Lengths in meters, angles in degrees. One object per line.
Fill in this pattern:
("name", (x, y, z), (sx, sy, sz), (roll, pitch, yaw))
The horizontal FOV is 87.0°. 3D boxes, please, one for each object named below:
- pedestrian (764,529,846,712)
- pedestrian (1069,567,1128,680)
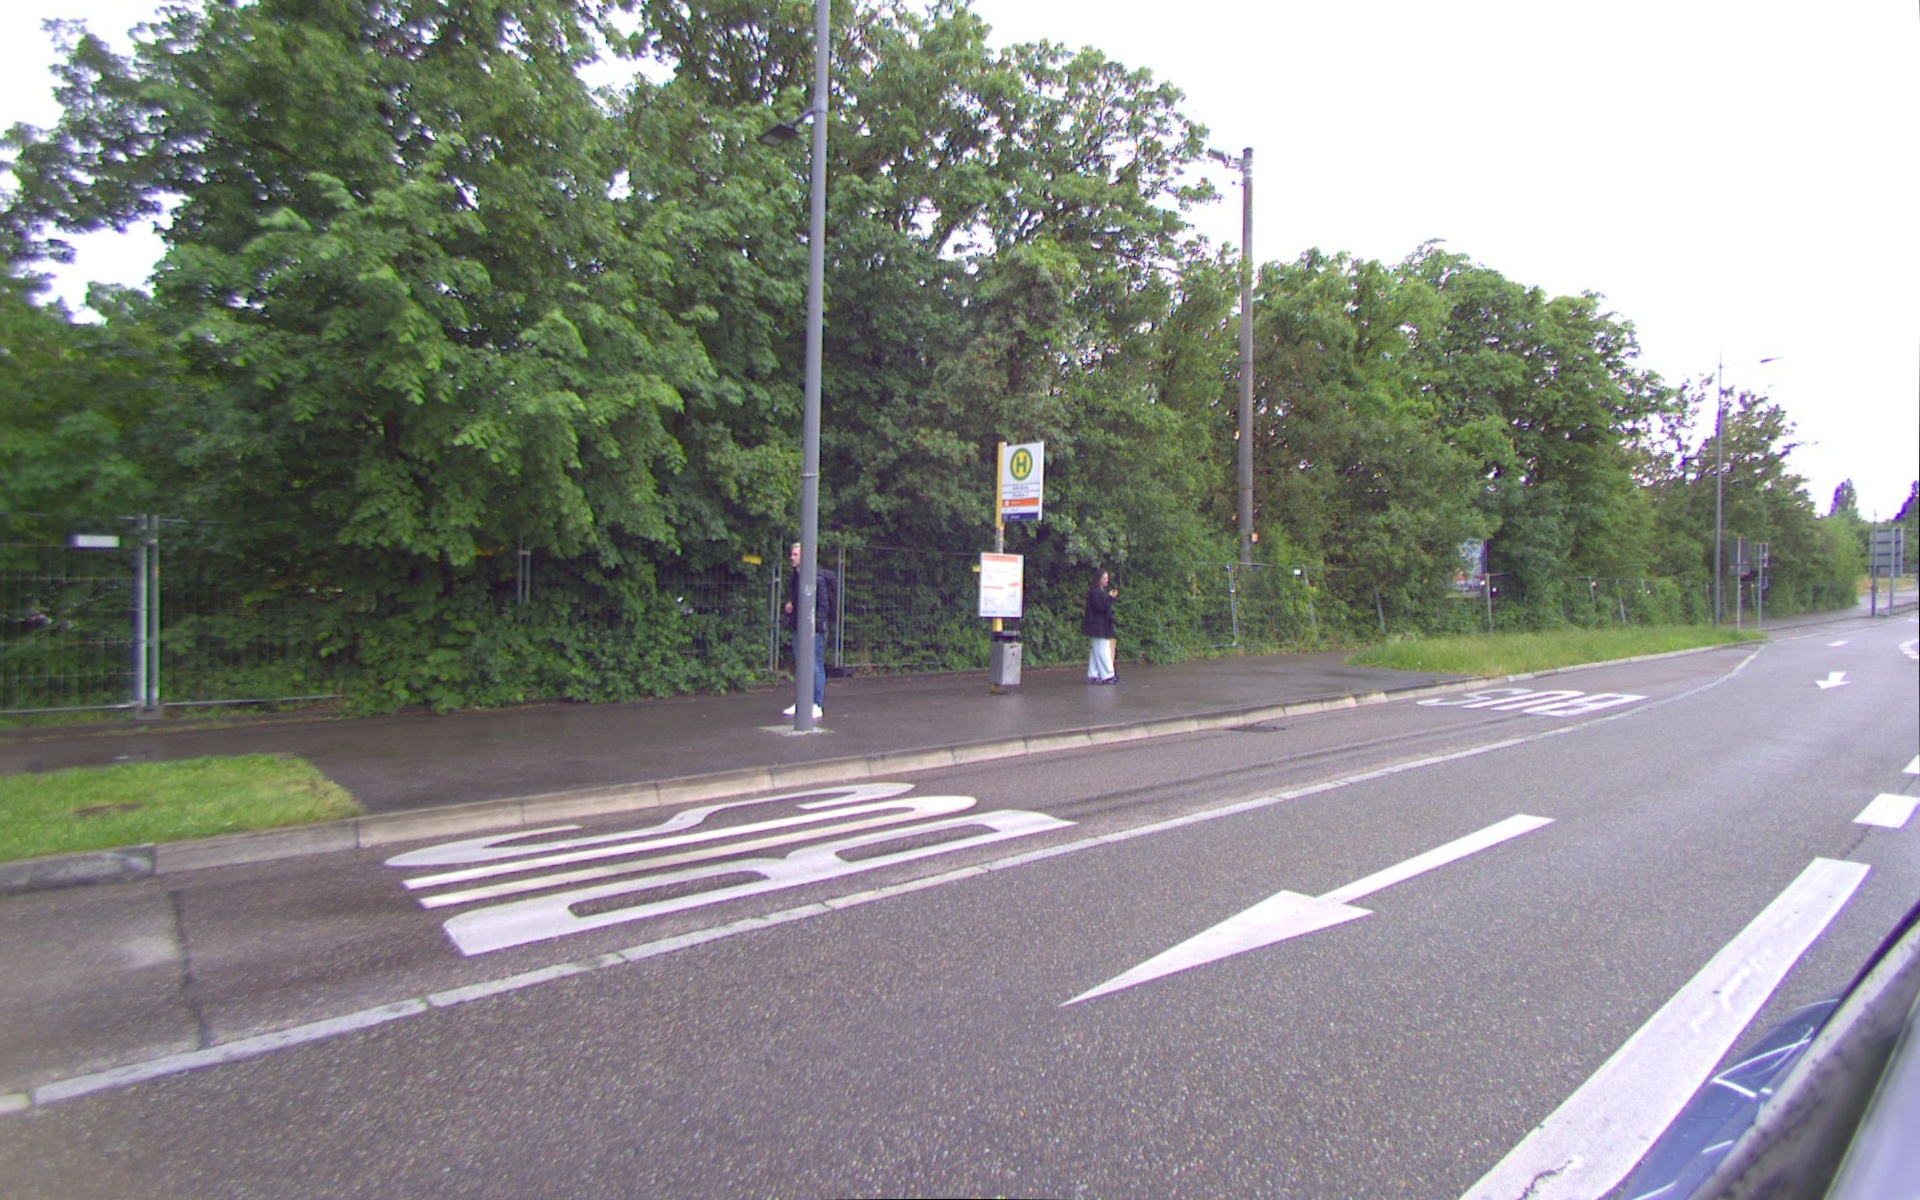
("pedestrian", (-1.742, 0.211, 11.347), (0.587, 1.973, 0.742), (0, 1, -40))
("pedestrian", (2.083, 0.331, 15.207), (0.650, 1.648, 0.588), (0, 1, -40))
